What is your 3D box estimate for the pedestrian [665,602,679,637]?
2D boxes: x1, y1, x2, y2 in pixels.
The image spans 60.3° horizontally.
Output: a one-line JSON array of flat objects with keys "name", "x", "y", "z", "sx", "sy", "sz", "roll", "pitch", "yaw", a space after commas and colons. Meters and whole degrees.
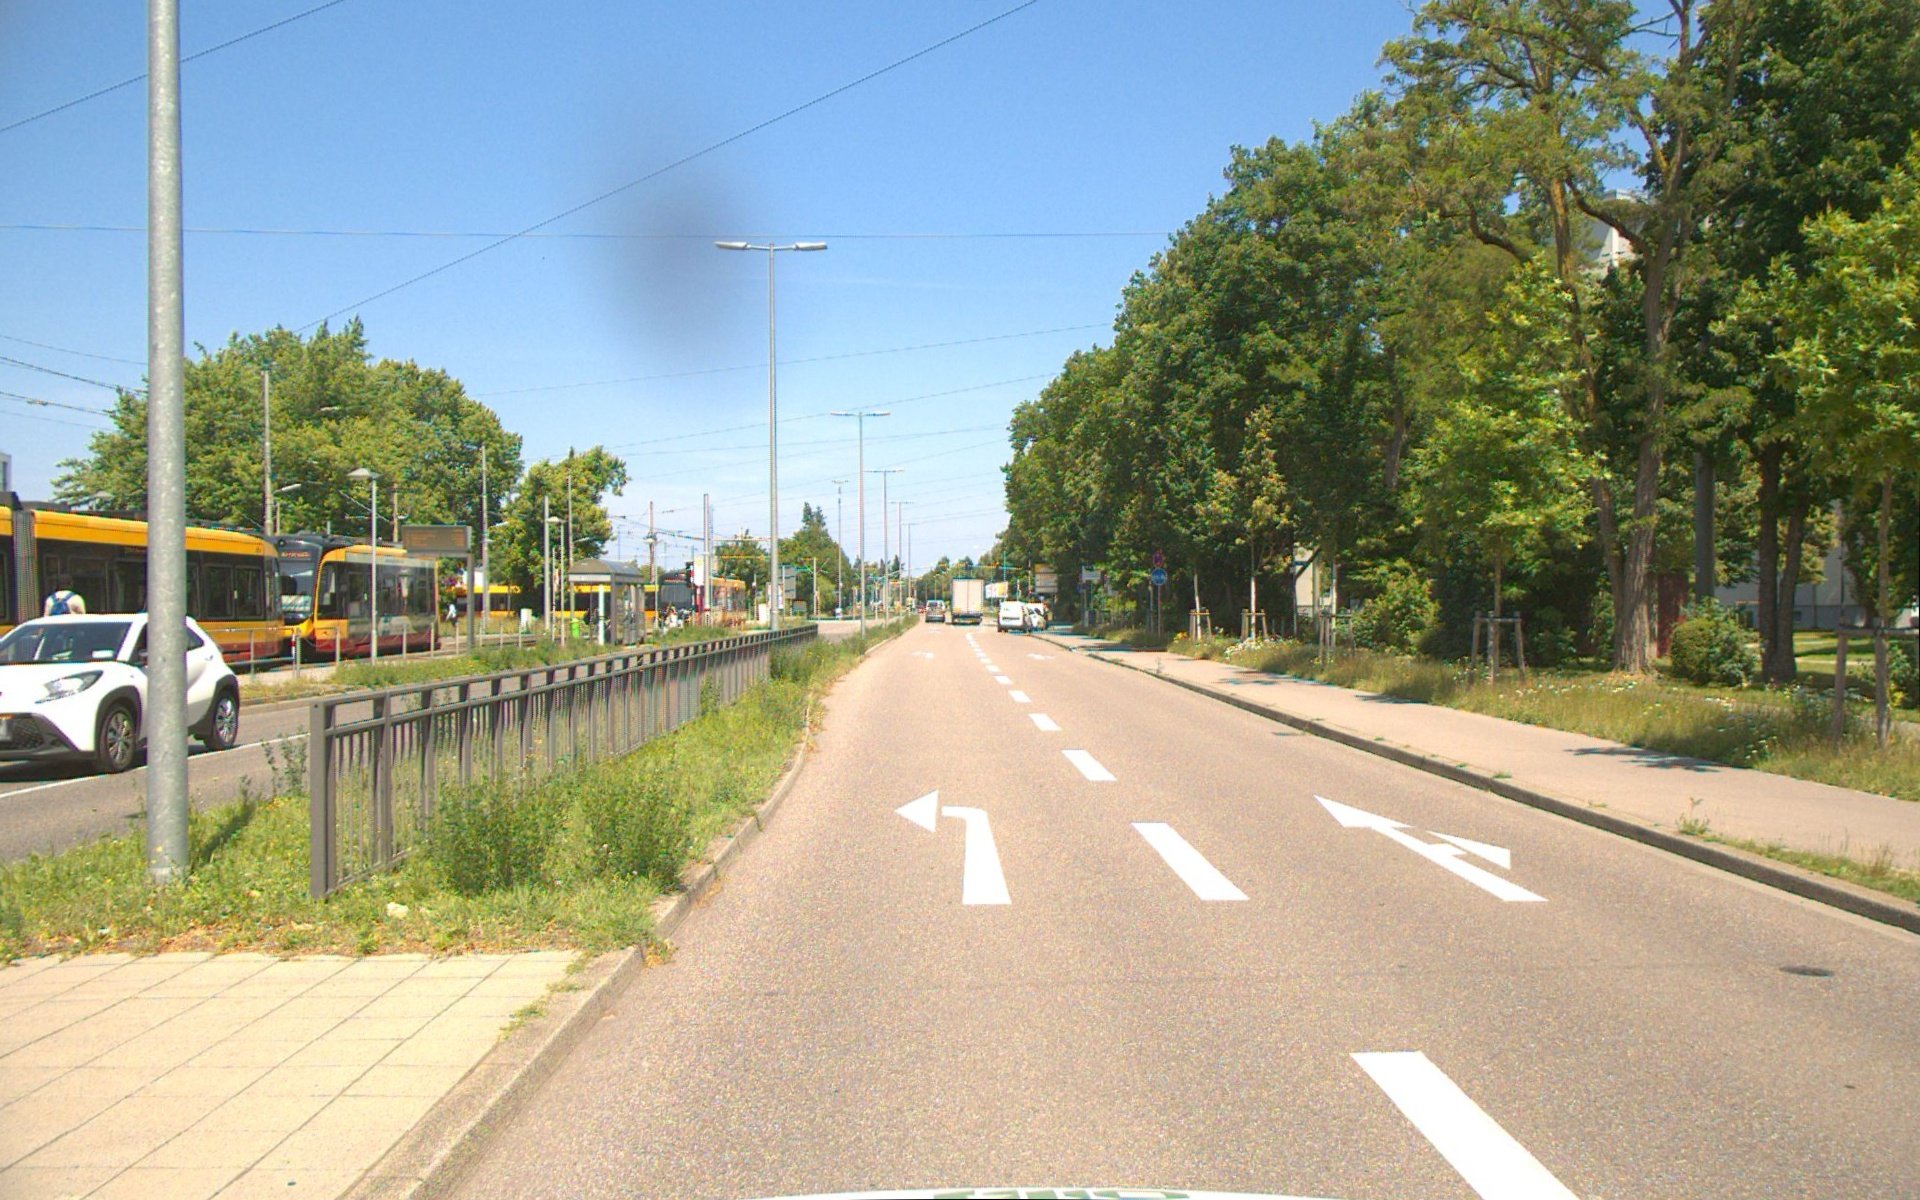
[{"name": "pedestrian", "x": -13.438, "y": 0.918, "z": 77.182, "sx": 0.524, "sy": 1.593, "sz": 0.582, "roll": 1, "pitch": 0, "yaw": -2}]

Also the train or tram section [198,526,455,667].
[{"name": "train or tram section", "x": -18.869, "y": -0.087, "z": 50.704, "sx": 2.982, "sy": 3.688, "sz": 13.891, "roll": 1, "pitch": 0, "yaw": -2}]

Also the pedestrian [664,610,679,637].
[{"name": "pedestrian", "x": -13.211, "y": 1.057, "z": 75.790, "sx": 0.569, "sy": 1.210, "sz": 0.536, "roll": 1, "pitch": 0, "yaw": -3}]

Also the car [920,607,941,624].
[{"name": "car", "x": -2.690, "y": 1.392, "z": 150.393, "sx": 1.854, "sy": 1.396, "sz": 4.429, "roll": 2, "pitch": 0, "yaw": -1}]

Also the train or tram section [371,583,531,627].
[{"name": "train or tram section", "x": -43.843, "y": 0.439, "z": 142.834, "sx": 13.008, "sy": 3.526, "sz": 3.033, "roll": 1, "pitch": 0, "yaw": -16}]

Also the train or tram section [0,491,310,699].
[{"name": "train or tram section", "x": -18.683, "y": -0.108, "z": 37.147, "sx": 2.981, "sy": 3.833, "sz": 13.259, "roll": 1, "pitch": 0, "yaw": -1}]

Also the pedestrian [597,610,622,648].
[{"name": "pedestrian", "x": -12.335, "y": 1.030, "z": 58.215, "sx": 0.687, "sy": 1.306, "sz": 0.839, "roll": 1, "pitch": 0, "yaw": -3}]

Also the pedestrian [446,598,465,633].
[{"name": "pedestrian", "x": -23.327, "y": 0.734, "z": 76.437, "sx": 0.788, "sy": 1.593, "sz": 0.534, "roll": 1, "pitch": 0, "yaw": -16}]

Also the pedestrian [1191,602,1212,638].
[{"name": "pedestrian", "x": 9.816, "y": 0.804, "z": 67.238, "sx": 0.693, "sy": 1.422, "sz": 0.763, "roll": 1, "pitch": 0, "yaw": 0}]

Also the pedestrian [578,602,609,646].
[{"name": "pedestrian", "x": -13.502, "y": 0.883, "z": 60.958, "sx": 0.912, "sy": 1.573, "sz": 0.985, "roll": 1, "pitch": 0, "yaw": -3}]

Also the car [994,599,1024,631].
[{"name": "car", "x": 2.892, "y": 0.875, "z": 97.950, "sx": 1.674, "sy": 1.778, "sz": 4.428, "roll": 1, "pitch": 0, "yaw": 2}]

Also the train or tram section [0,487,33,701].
[{"name": "train or tram section", "x": -18.504, "y": -0.138, "z": 24.164, "sx": 2.982, "sy": 3.807, "sz": 12.592, "roll": 1, "pitch": 0, "yaw": -1}]

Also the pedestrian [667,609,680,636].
[{"name": "pedestrian", "x": -13.216, "y": 1.027, "z": 76.282, "sx": 0.484, "sy": 1.210, "sz": 0.400, "roll": 1, "pitch": 0, "yaw": -1}]

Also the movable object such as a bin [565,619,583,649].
[{"name": "movable object such as a bin", "x": -12.710, "y": 1.120, "z": 54.499, "sx": 0.472, "sy": 0.995, "sz": 0.644, "roll": 0, "pitch": 0, "yaw": -5}]

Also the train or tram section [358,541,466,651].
[{"name": "train or tram section", "x": -20.443, "y": -0.148, "z": 62.330, "sx": 2.993, "sy": 3.688, "sz": 12.402, "roll": 1, "pitch": 0, "yaw": -15}]

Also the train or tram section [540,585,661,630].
[{"name": "train or tram section", "x": -30.297, "y": 0.604, "z": 138.971, "sx": 12.518, "sy": 3.526, "sz": 3.029, "roll": 1, "pitch": 0, "yaw": 41}]

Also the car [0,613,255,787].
[{"name": "car", "x": -8.719, "y": 0.913, "z": 16.696, "sx": 1.734, "sy": 1.531, "sz": 3.718, "roll": 0, "pitch": 0, "yaw": -3}]

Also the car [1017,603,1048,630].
[{"name": "car", "x": 4.691, "y": 1.030, "z": 107.674, "sx": 1.665, "sy": 1.683, "sz": 4.397, "roll": 1, "pitch": 0, "yaw": -2}]

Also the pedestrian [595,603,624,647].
[{"name": "pedestrian", "x": -12.673, "y": 0.898, "z": 59.856, "sx": 0.856, "sy": 1.573, "sz": 1.025, "roll": 1, "pitch": 0, "yaw": -3}]

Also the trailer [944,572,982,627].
[{"name": "trailer", "x": 0.244, "y": -0.045, "z": 139.309, "sx": 2.770, "sy": 4.499, "sz": 8.745, "roll": 1, "pitch": 0, "yaw": -2}]

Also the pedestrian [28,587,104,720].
[{"name": "pedestrian", "x": -12.513, "y": 0.740, "z": 23.169, "sx": 0.619, "sy": 1.822, "sz": 0.776, "roll": 1, "pitch": 0, "yaw": -3}]

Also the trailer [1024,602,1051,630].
[{"name": "trailer", "x": 4.839, "y": 0.982, "z": 104.034, "sx": 1.439, "sy": 1.698, "sz": 2.855, "roll": 1, "pitch": 0, "yaw": -2}]

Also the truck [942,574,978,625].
[{"name": "truck", "x": -0.077, "y": -0.084, "z": 147.859, "sx": 2.770, "sy": 4.420, "sz": 8.280, "roll": 2, "pitch": 0, "yaw": -2}]
